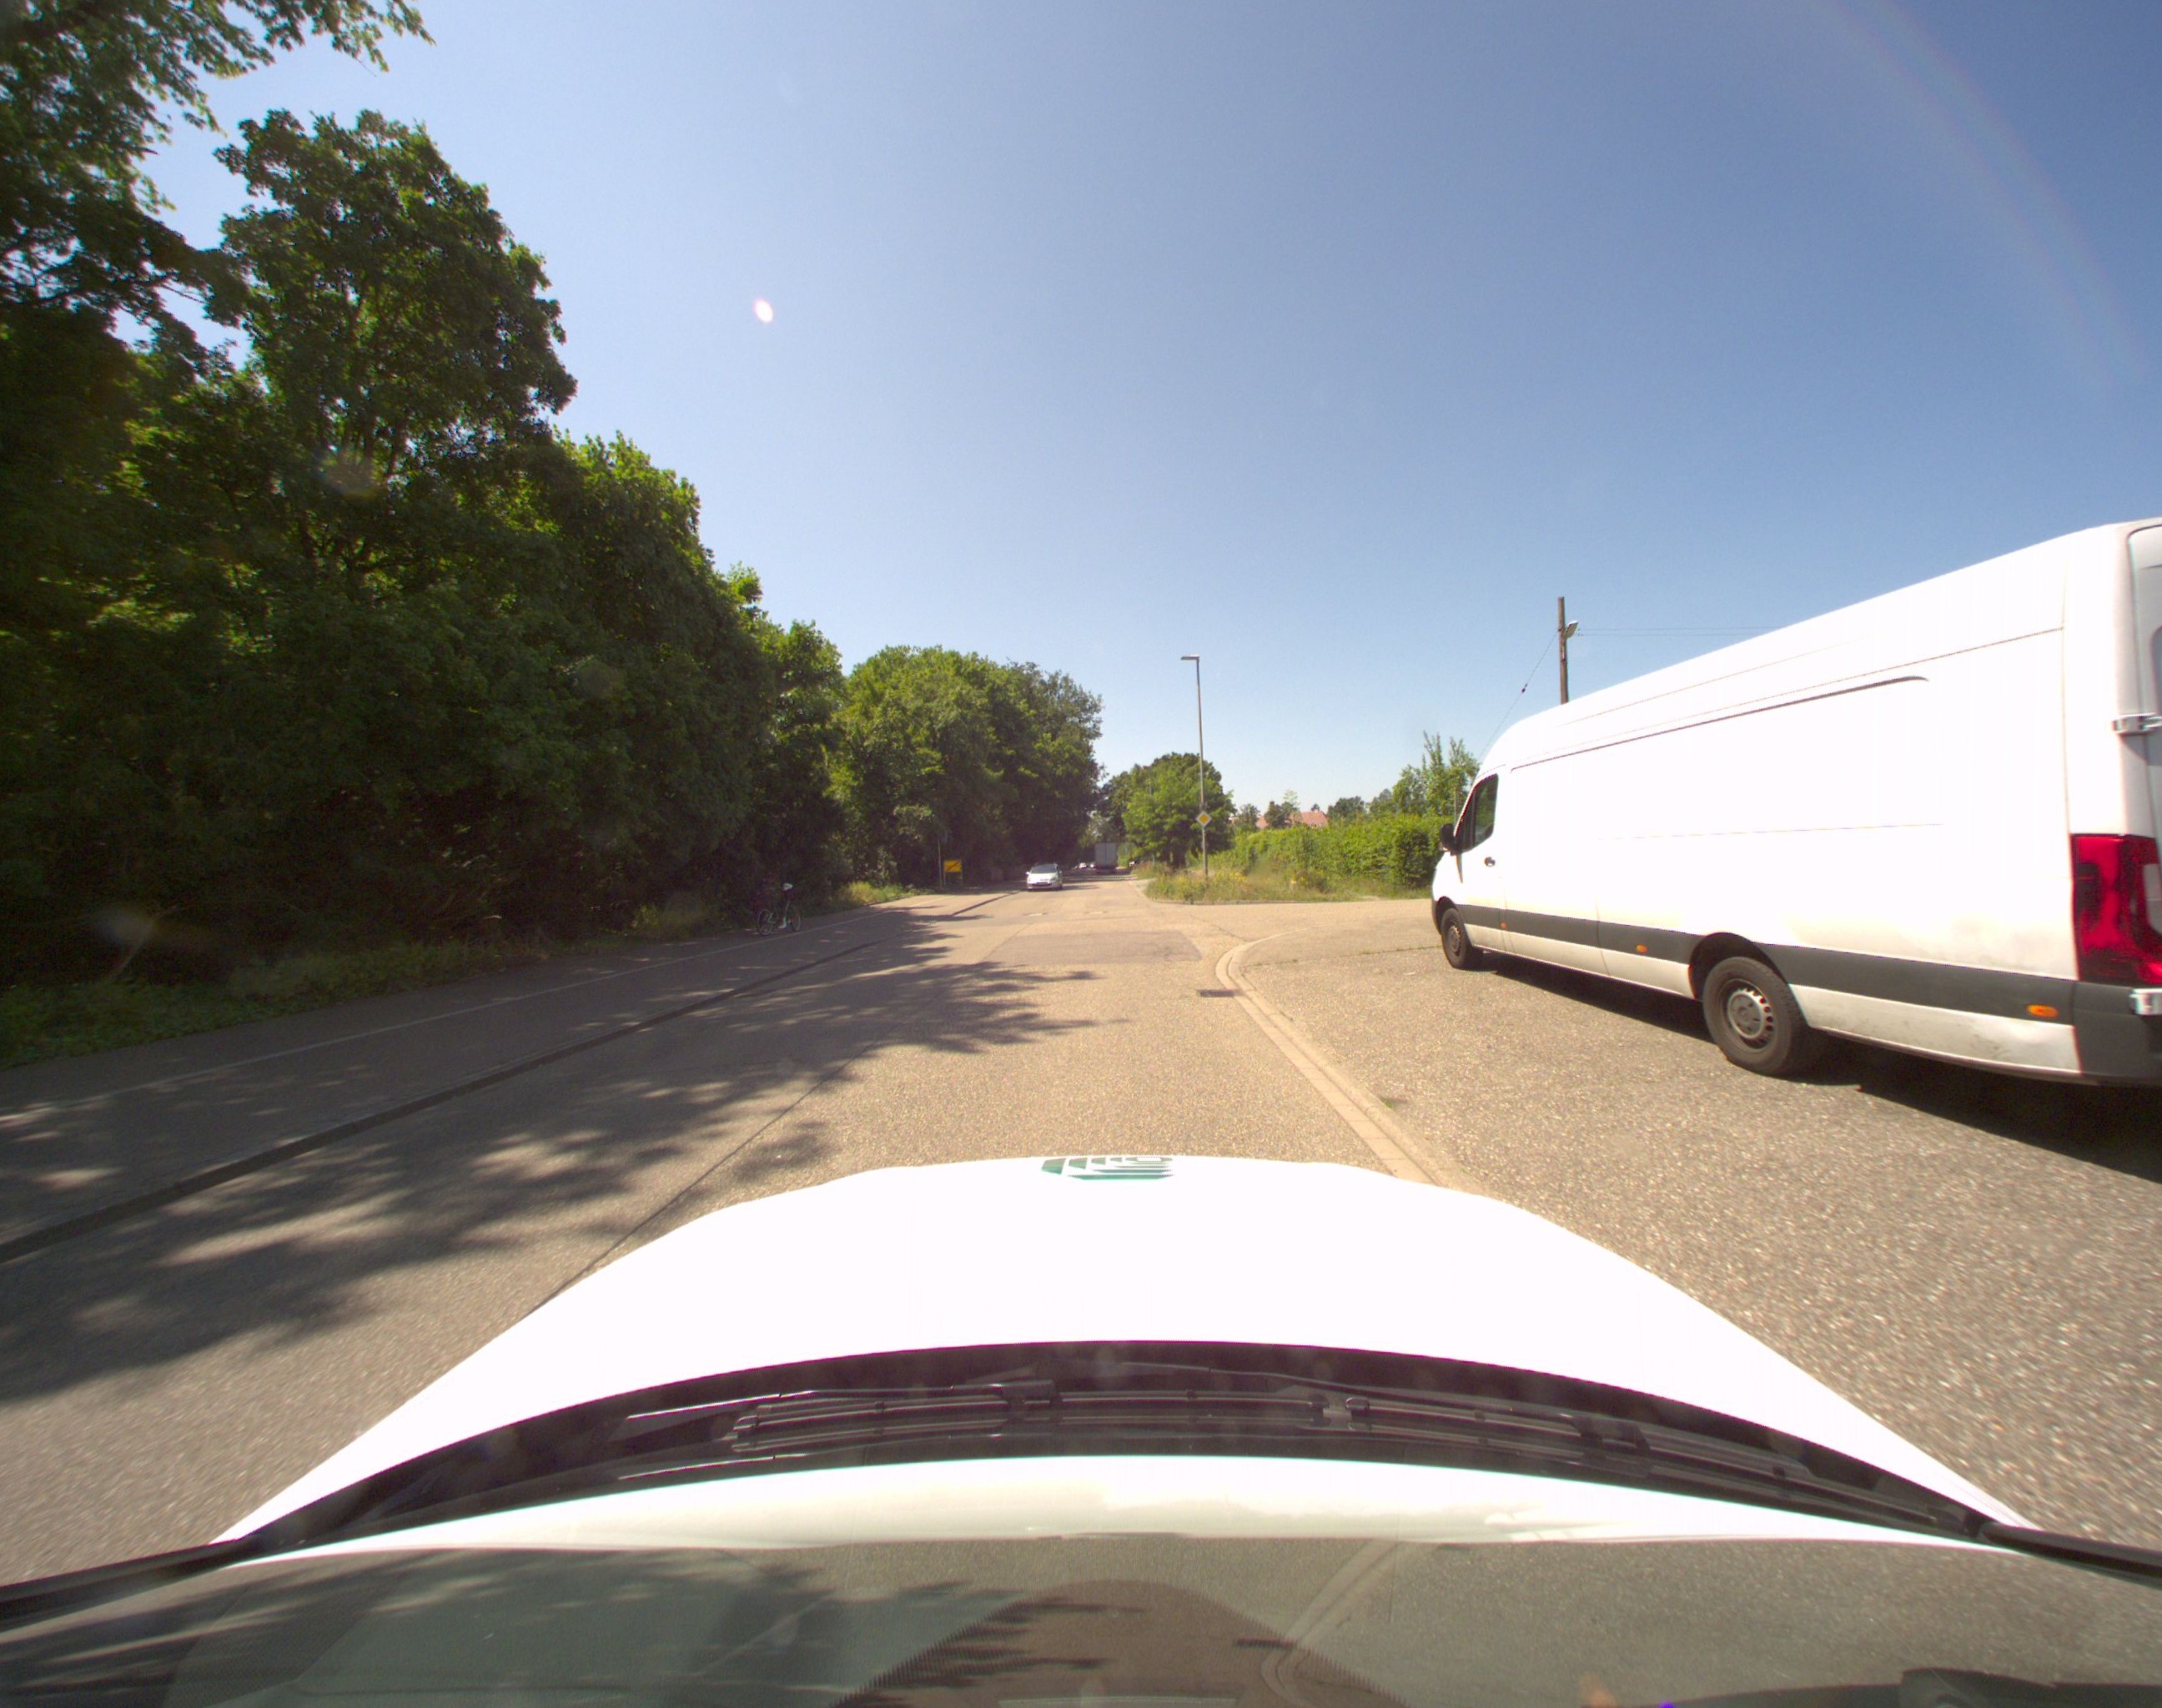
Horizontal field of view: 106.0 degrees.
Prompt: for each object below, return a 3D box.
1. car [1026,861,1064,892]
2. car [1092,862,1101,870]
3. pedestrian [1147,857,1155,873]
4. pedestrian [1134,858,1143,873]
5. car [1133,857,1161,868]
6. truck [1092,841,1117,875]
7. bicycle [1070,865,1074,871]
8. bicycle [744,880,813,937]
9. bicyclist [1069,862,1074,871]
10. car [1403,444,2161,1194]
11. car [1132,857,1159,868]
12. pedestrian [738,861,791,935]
[{"bbox_3d":[-1.960,1.208,45.505,1.785,1.572,4.273,-2,0,1],"label":"car"},{"bbox_3d":[3.467,2.631,183.007,1.986,1.684,4.264,-3,0,2],"label":"car"},{"bbox_3d":[8.051,1.285,93.789,0.736,1.738,0.885,-3,-1,0],"label":"pedestrian"},{"bbox_3d":[6.550,1.306,92.570,0.860,1.677,0.885,-3,-1,0],"label":"pedestrian"},{"bbox_3d":[9.829,1.311,121.564,4.179,1.445,1.740,-2,-1,2],"label":"car"},{"bbox_3d":[2.977,0.472,99.789,2.723,3.746,13.252,-1,0,2],"label":"truck"},{"bbox_3d":[-1.917,3.006,169.885,0.715,1.159,2.231,-3,0,2],"label":"bicycle"},{"bbox_3d":[-7.181,1.261,19.447,0.518,1.236,1.968,-1,-1,14],"label":"bicycle"},{"bbox_3d":[-1.942,2.588,169.916,0.829,1.716,0.958,-3,-1,2],"label":"bicyclist"},{"bbox_3d":[4.927,-0.212,6.538,1.946,2.733,7.172,-5,0,3],"label":"car"},{"bbox_3d":[10.115,1.327,127.947,4.179,1.445,1.740,-2,-1,2],"label":"car"},{"bbox_3d":[-7.526,1.033,19.384,0.802,1.718,0.780,-2,-1,17],"label":"pedestrian"}]
